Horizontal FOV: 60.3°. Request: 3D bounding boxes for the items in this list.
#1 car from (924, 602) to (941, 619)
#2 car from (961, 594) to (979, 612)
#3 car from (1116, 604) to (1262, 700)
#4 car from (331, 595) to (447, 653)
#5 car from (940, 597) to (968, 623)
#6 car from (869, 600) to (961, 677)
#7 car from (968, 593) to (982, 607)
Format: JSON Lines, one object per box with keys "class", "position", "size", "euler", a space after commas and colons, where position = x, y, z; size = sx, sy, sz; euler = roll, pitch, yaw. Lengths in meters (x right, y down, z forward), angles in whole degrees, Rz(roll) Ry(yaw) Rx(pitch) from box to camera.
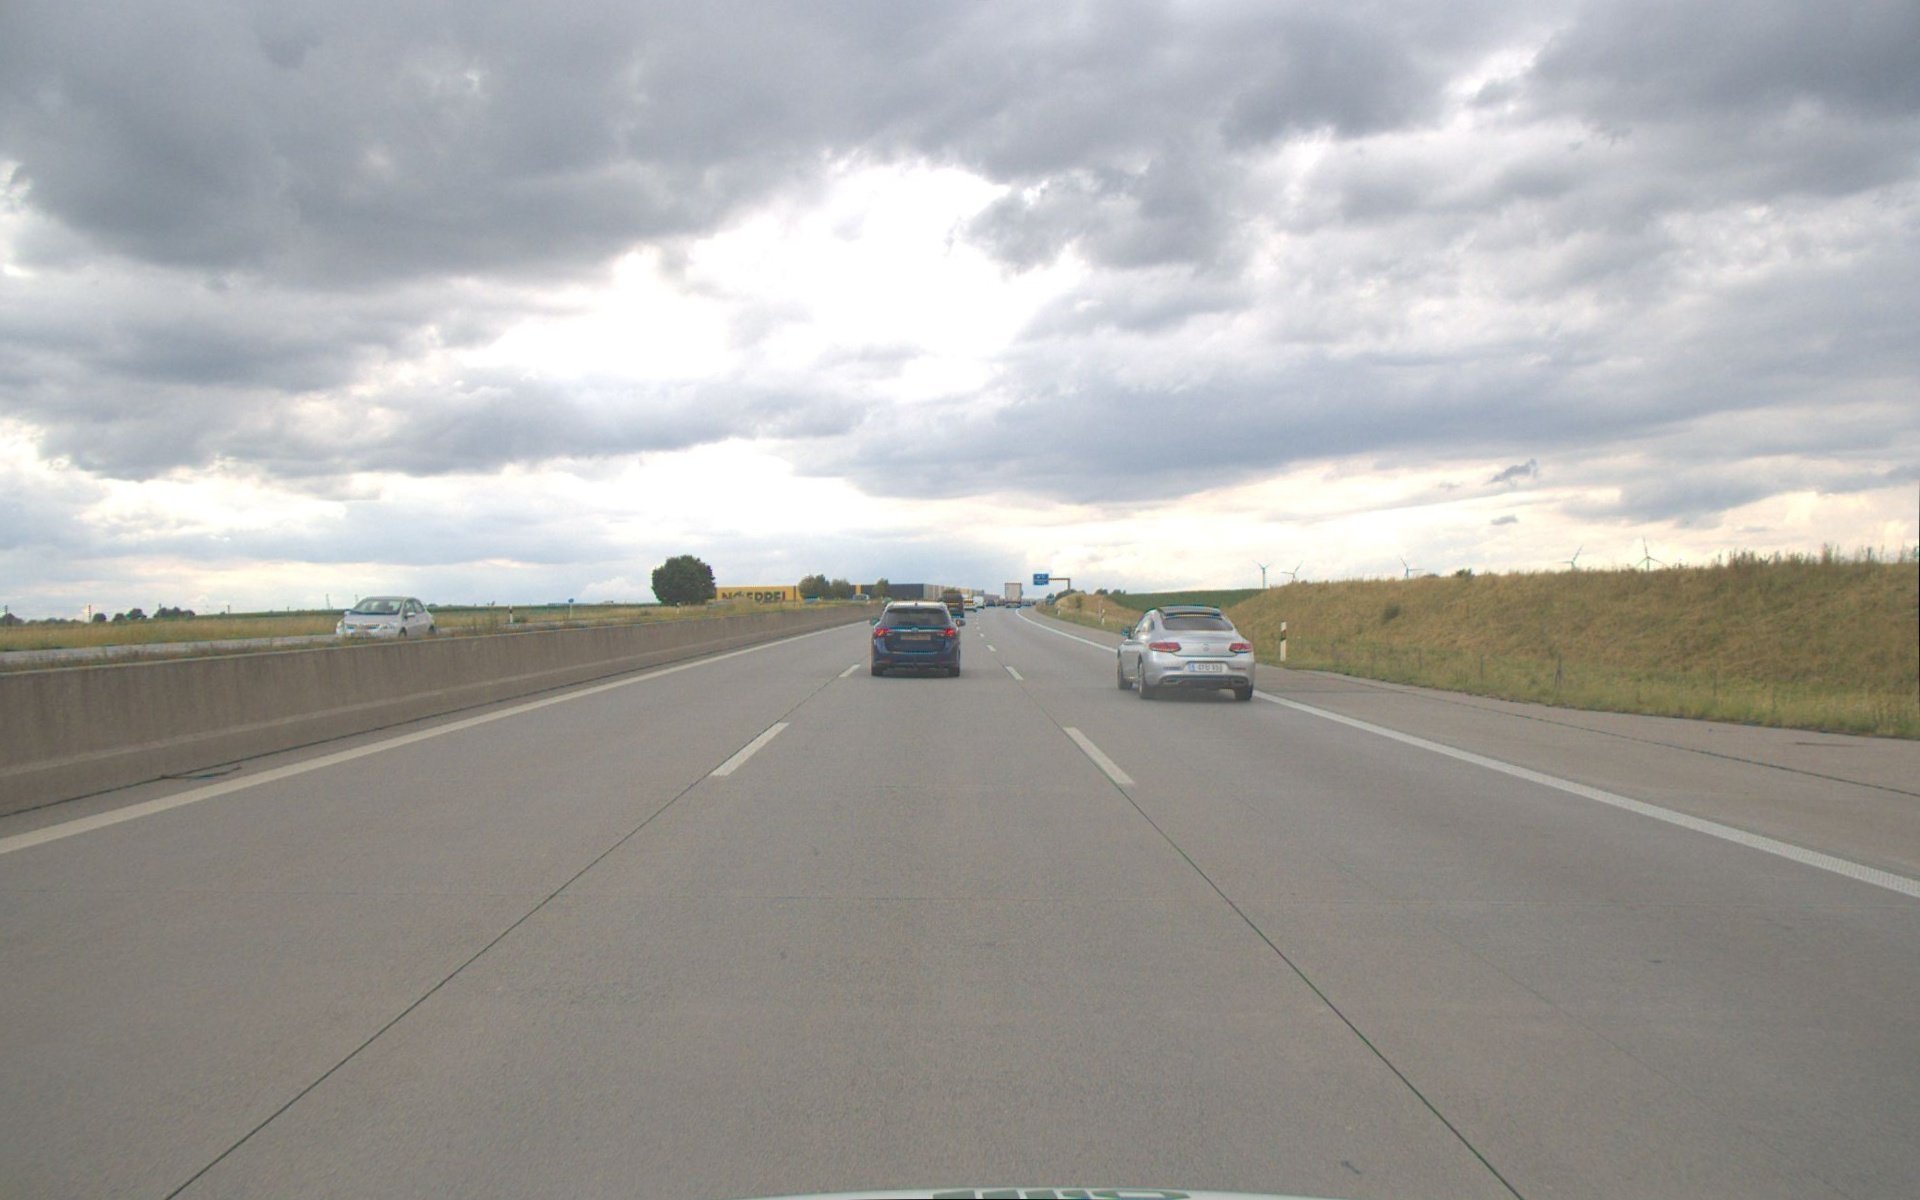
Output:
{"class": "car", "position": [-3.383, 1.299, 201.227], "size": [2.004, 2.049, 3.999], "euler": [1, -1, 0]}
{"class": "car", "position": [1.158, 0.330, 190.041], "size": [1.952, 2.049, 4.000], "euler": [2, 0, 1]}
{"class": "car", "position": [3.629, 0.792, 26.853], "size": [1.752, 1.428, 4.220], "euler": [0, 0, -1]}
{"class": "car", "position": [-16.158, 0.682, 47.013], "size": [1.742, 1.533, 4.516], "euler": [1, -1, -1]}
{"class": "car", "position": [-0.485, 0.826, 133.854], "size": [1.955, 2.049, 3.996], "euler": [1, -1, -5]}
{"class": "car", "position": [-0.929, 0.741, 33.296], "size": [1.739, 1.438, 3.998], "euler": [0, 0, -2]}
{"class": "car", "position": [2.146, -0.001, 239.520], "size": [1.953, 2.049, 3.999], "euler": [1, -1, 0]}
